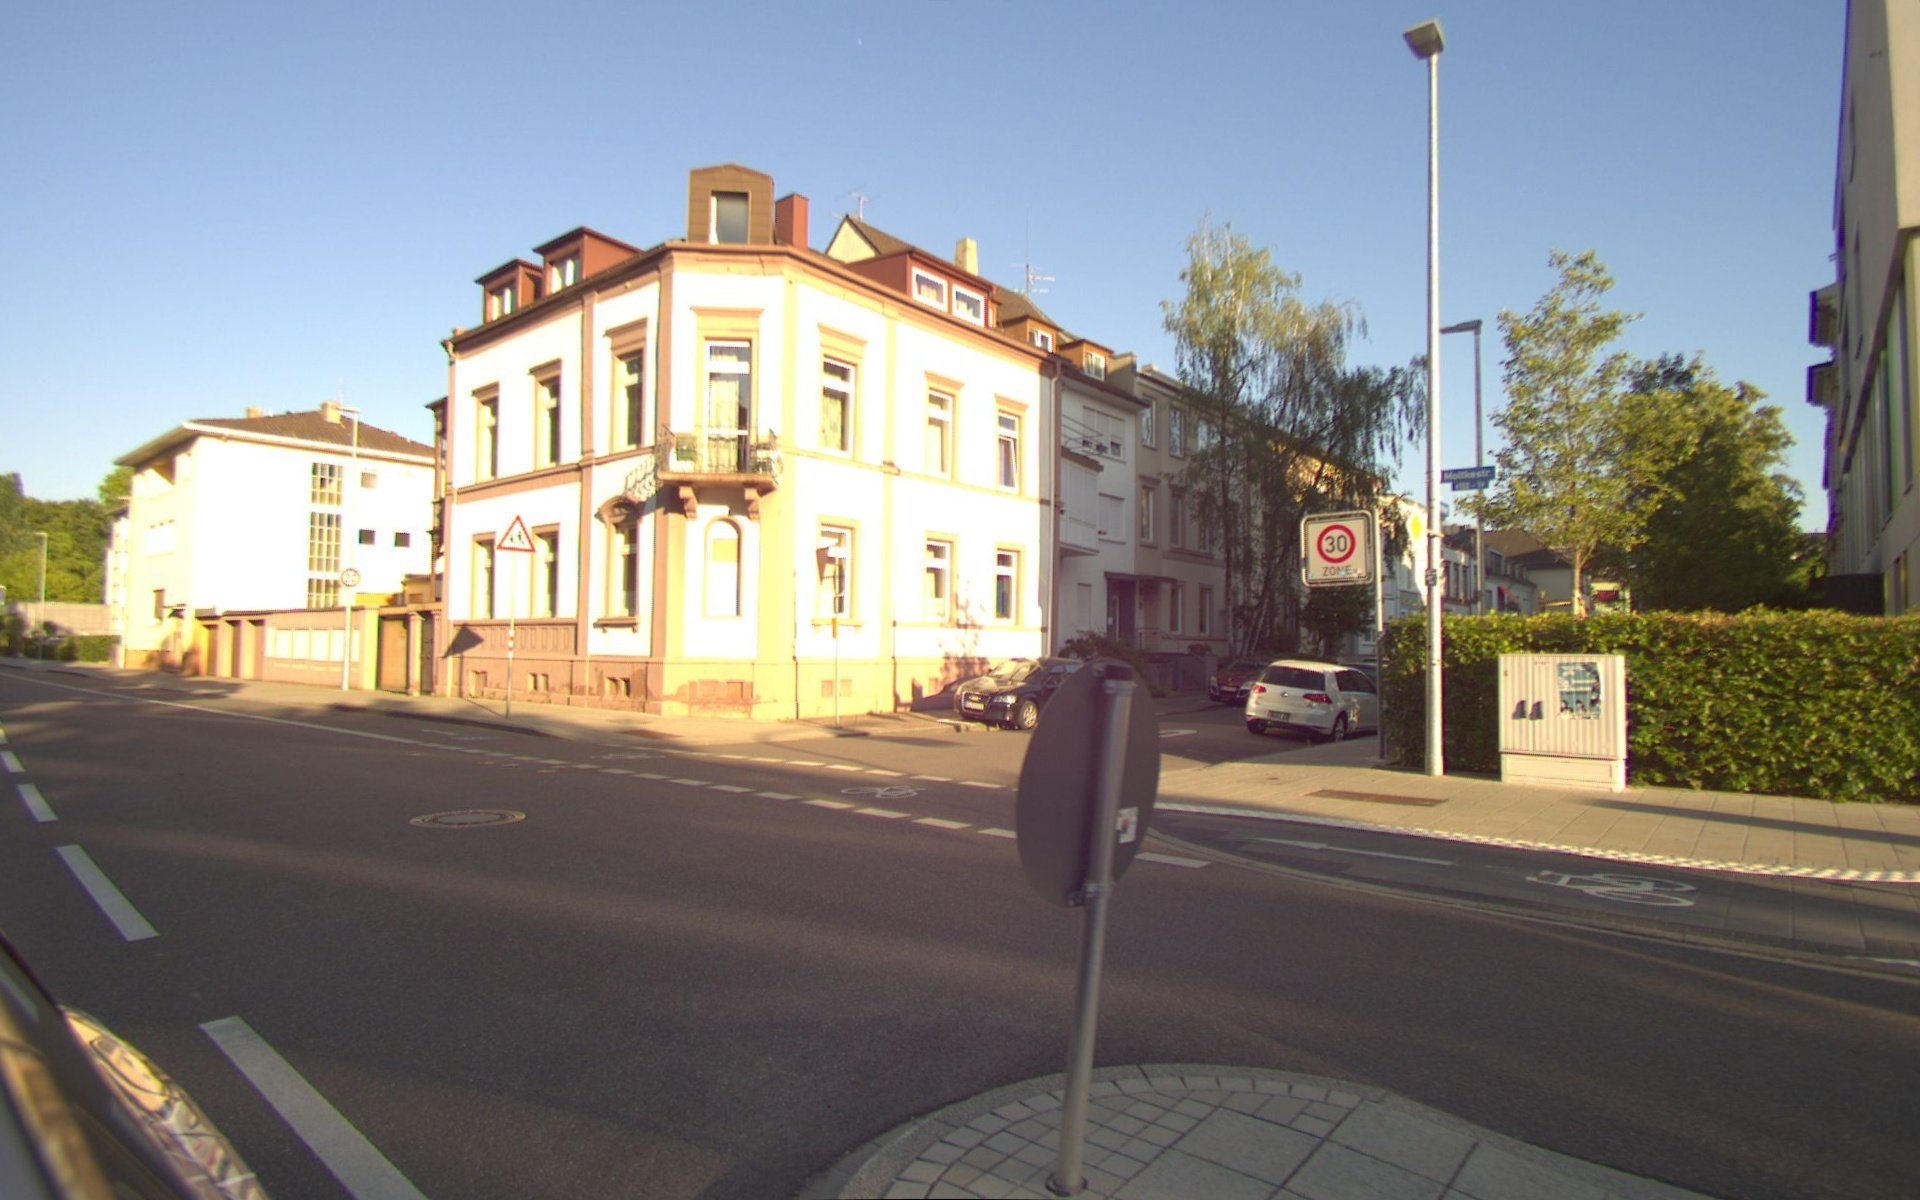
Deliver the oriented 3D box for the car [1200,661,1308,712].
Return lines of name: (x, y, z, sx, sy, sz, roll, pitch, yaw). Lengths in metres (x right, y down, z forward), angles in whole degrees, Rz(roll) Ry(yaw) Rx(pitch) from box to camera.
car: (9.187, 2.643, 31.430, 1.902, 1.449, 3.868, -2, -4, 38)

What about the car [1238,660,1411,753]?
car: (7.190, 1.991, 19.767, 1.818, 1.449, 3.864, 4, 0, 42)

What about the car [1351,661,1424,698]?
car: (17.698, 3.249, 41.815, 1.901, 1.449, 3.870, -2, -4, 37)

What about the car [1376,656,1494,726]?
car: (12.639, 2.358, 26.811, 1.753, 1.568, 3.864, 4, 0, 42)

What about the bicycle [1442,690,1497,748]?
bicycle: (8.681, 2.005, 17.214, 0.511, 0.899, 1.582, -2, -4, 38)

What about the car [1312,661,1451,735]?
car: (9.818, 2.198, 23.432, 1.753, 1.387, 3.864, 4, 0, 42)

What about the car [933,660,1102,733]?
car: (1.359, 2.062, 22.507, 1.902, 1.449, 3.868, -2, -4, 38)
